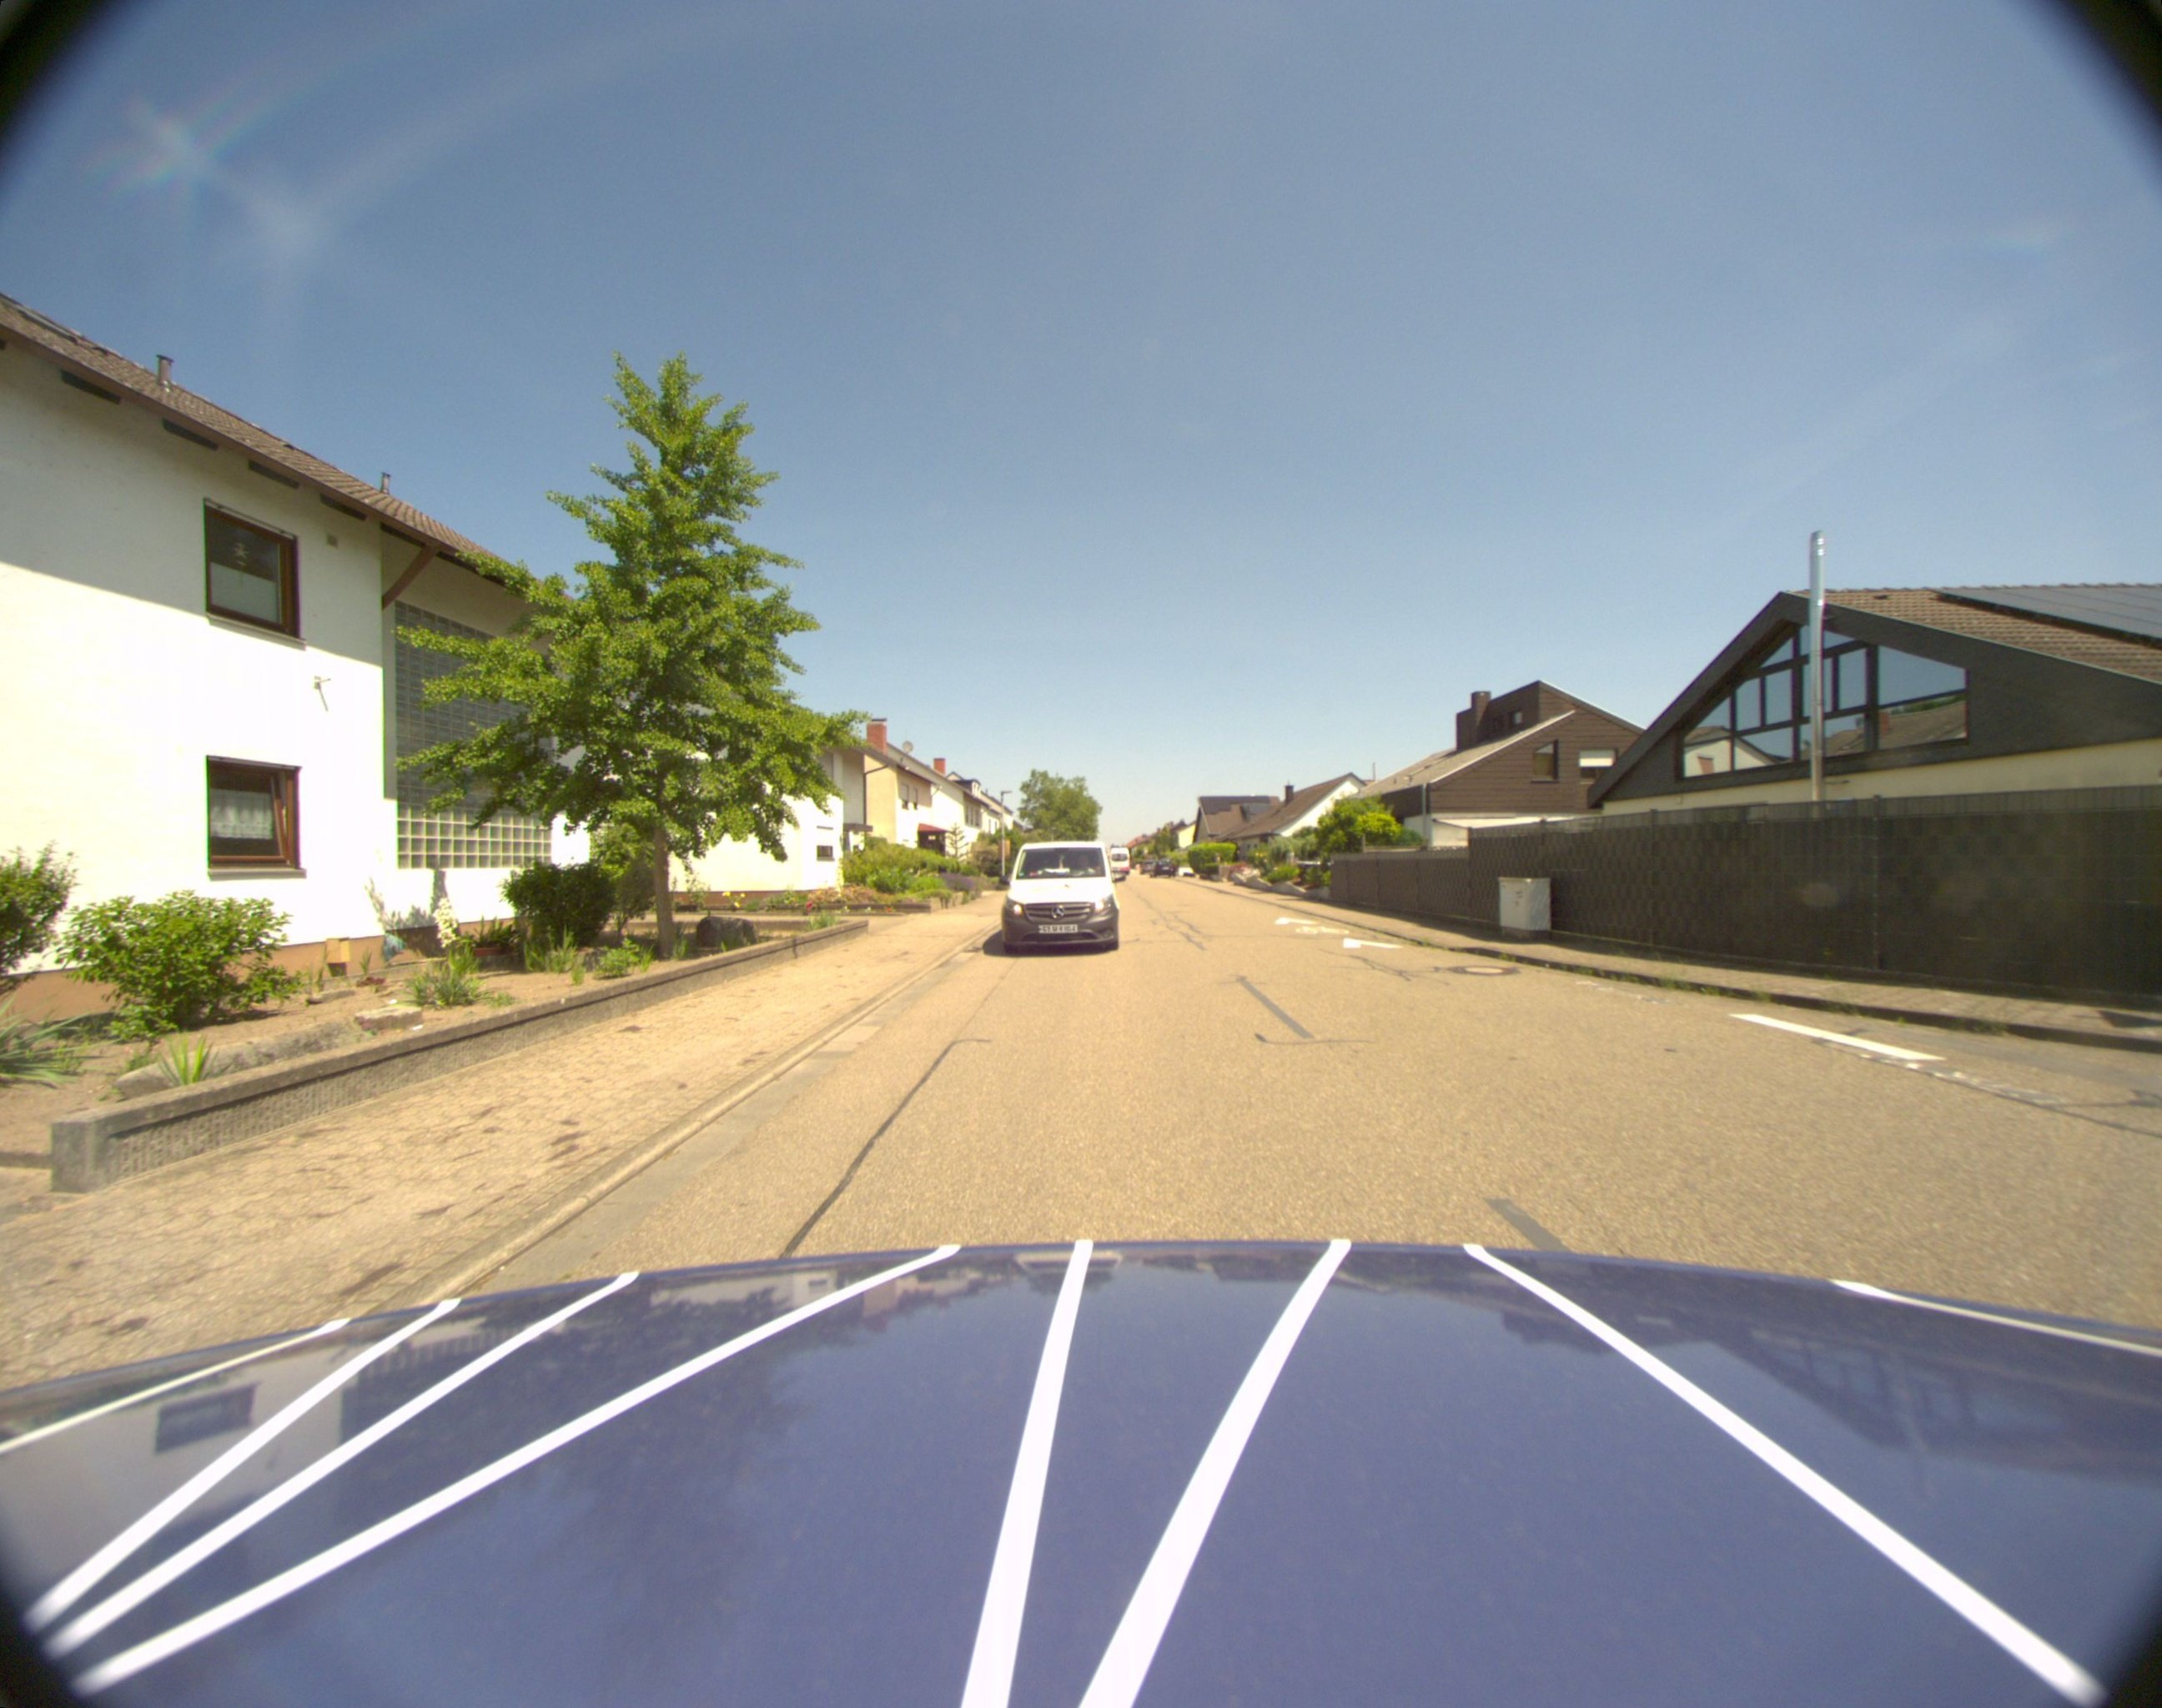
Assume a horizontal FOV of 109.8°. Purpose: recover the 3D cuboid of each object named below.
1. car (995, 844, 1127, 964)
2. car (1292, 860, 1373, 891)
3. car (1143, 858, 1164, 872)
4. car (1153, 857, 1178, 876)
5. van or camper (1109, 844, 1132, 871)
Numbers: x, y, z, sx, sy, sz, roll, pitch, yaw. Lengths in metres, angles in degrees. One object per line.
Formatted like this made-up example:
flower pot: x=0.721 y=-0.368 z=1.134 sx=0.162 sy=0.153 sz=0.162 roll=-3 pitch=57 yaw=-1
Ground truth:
car: x=-0.272 y=0.755 z=14.187 sx=2.018 sy=1.845 sz=5.068 roll=0 pitch=0 yaw=1
car: x=14.318 y=1.212 z=43.432 sx=3.997 sy=1.674 sz=1.902 roll=0 pitch=0 yaw=-1
car: x=7.363 y=1.113 z=77.487 sx=1.998 sy=1.390 sz=4.001 roll=0 pitch=0 yaw=4
car: x=6.759 y=0.985 z=61.233 sx=1.807 sy=1.390 sz=4.001 roll=0 pitch=0 yaw=4
van or camper: x=3.881 y=0.370 z=74.919 sx=2.069 sy=2.576 sz=4.603 roll=0 pitch=0 yaw=0
